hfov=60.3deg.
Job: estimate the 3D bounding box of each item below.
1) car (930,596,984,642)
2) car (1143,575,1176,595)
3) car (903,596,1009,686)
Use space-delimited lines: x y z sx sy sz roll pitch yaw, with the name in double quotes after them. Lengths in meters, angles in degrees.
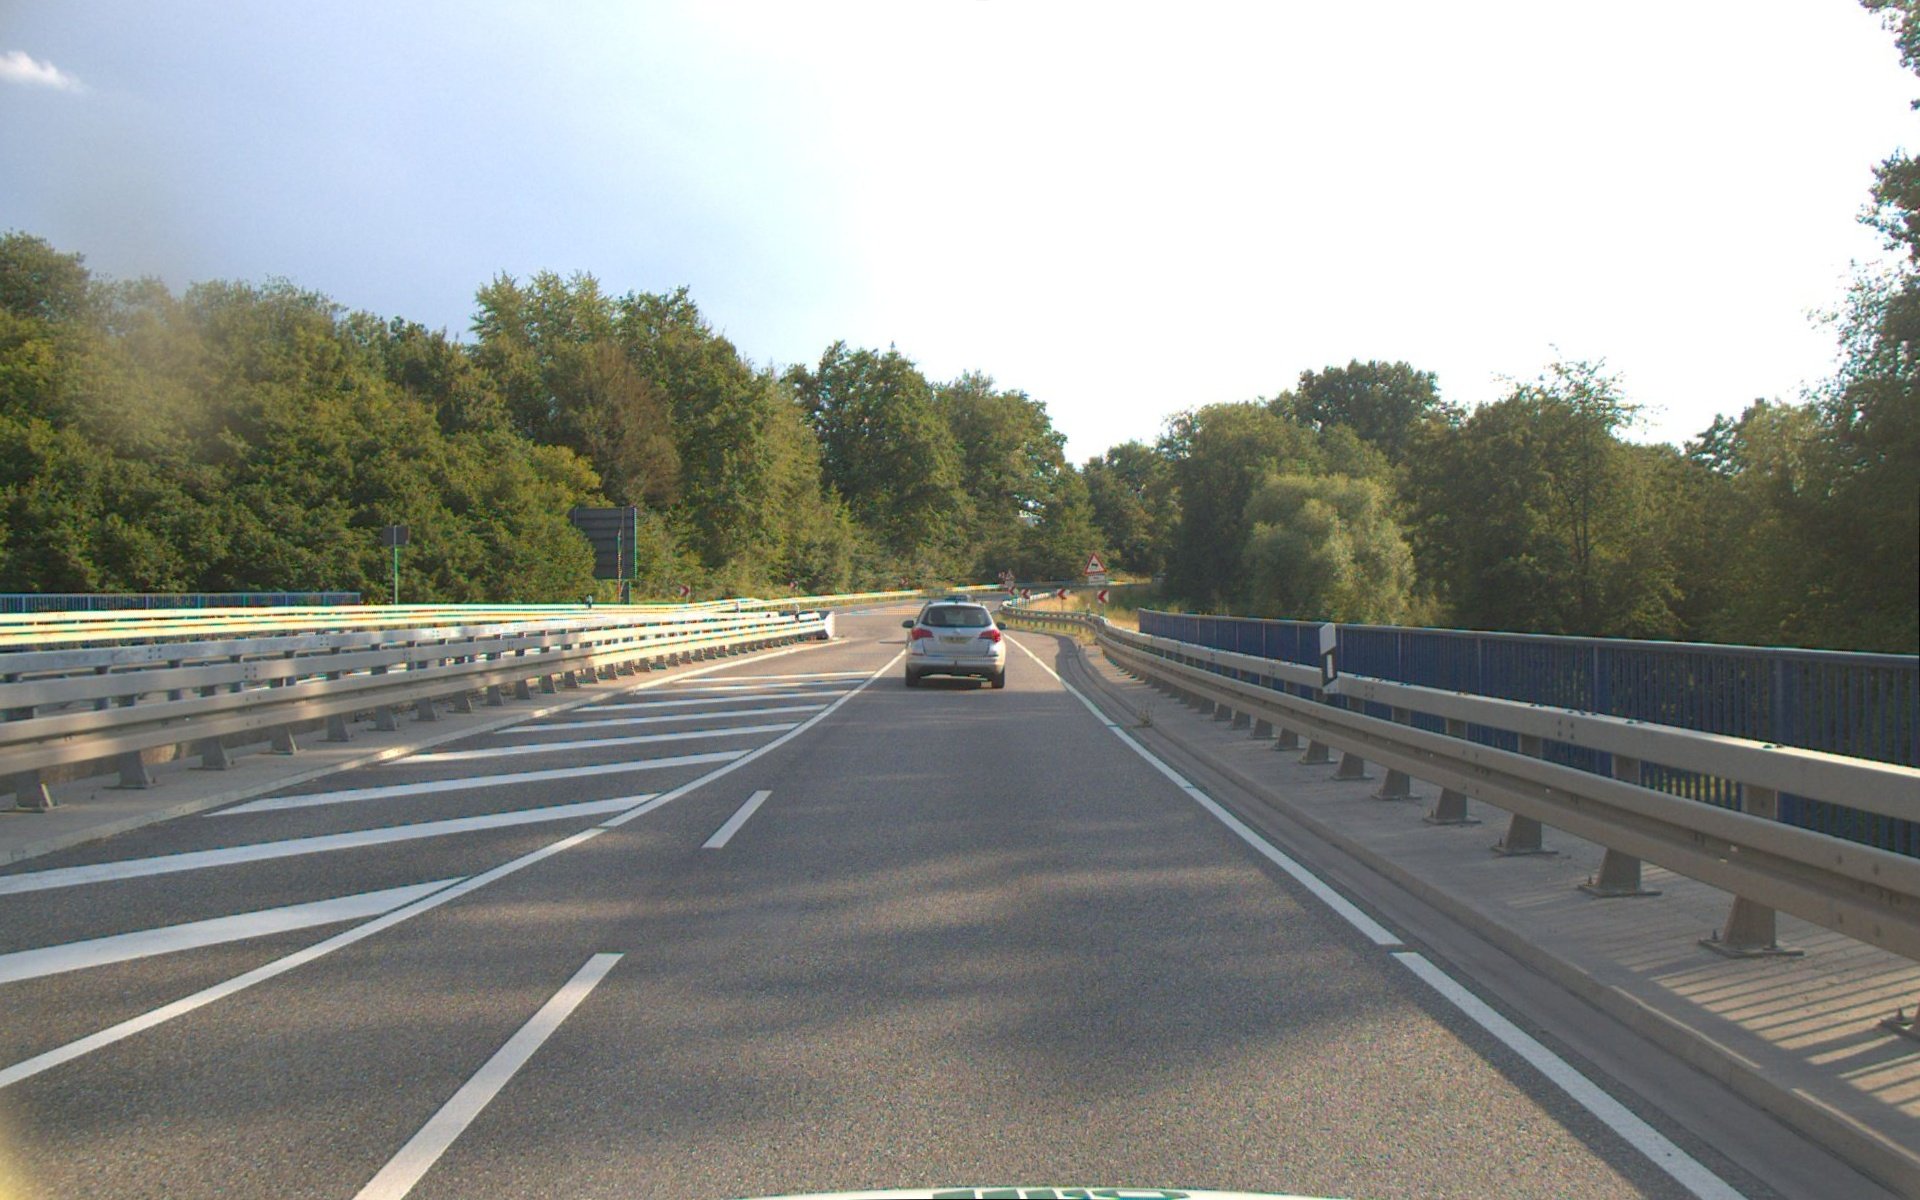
-0.141 0.654 57.096 1.772 1.512 3.998 1 -1 -2 "car"
21.856 -1.631 181.010 1.959 2.049 3.987 0 -1 34 "car"
-0.111 0.728 29.987 1.772 1.512 3.998 1 -1 -2 "car"
